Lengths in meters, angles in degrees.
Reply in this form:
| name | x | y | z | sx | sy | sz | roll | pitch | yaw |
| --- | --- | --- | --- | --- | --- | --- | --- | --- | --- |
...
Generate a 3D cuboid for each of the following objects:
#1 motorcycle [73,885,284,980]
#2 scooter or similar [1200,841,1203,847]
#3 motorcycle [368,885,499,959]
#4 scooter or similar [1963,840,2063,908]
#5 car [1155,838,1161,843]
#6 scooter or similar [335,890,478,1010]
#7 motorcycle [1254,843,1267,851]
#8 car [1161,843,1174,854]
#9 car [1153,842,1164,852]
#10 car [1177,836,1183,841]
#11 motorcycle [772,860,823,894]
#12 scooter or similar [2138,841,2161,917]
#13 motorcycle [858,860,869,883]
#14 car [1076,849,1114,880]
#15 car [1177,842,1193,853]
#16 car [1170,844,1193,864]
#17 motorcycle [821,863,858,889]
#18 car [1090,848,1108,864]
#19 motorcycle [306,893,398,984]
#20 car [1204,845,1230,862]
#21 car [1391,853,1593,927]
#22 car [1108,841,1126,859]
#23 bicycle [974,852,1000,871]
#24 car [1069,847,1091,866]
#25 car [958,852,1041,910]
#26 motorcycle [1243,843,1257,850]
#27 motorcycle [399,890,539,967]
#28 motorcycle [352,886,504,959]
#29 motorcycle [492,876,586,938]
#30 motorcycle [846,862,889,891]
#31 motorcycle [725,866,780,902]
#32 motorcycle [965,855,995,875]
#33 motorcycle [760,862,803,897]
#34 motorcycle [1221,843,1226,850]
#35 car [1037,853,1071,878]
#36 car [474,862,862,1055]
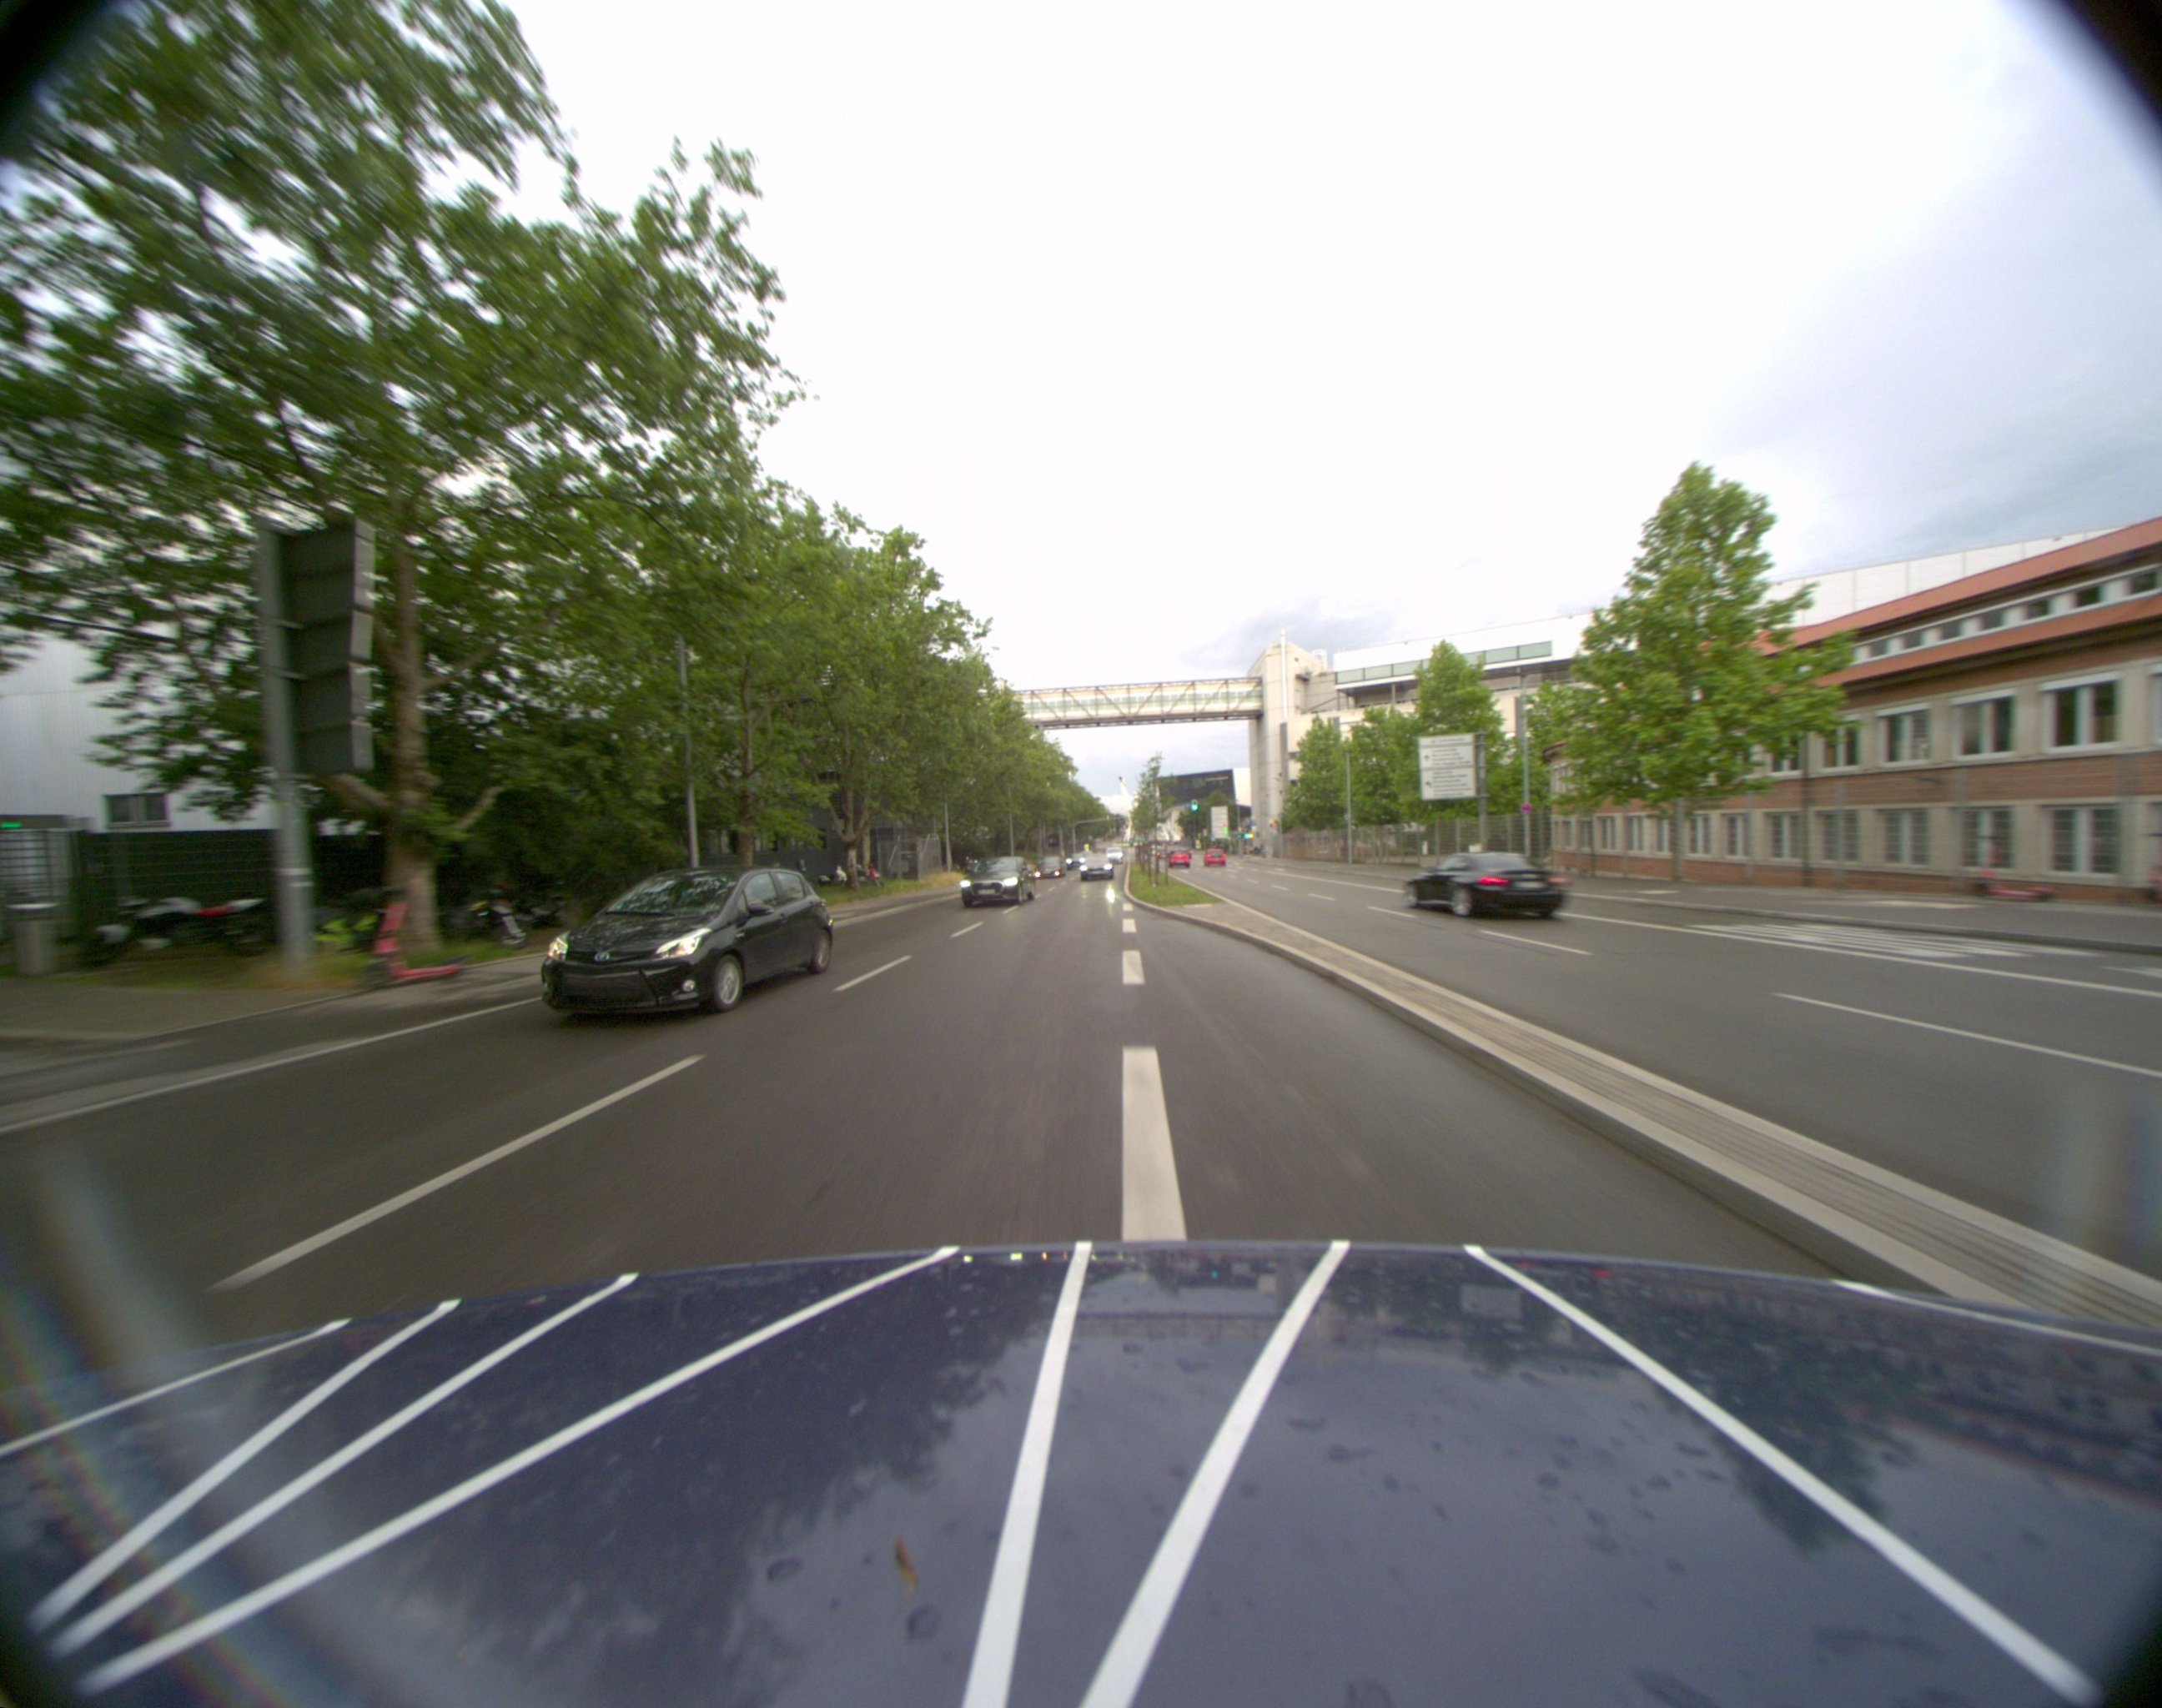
| name | x | y | z | sx | sy | sz | roll | pitch | yaw |
| --- | --- | --- | --- | --- | --- | --- | --- | --- | --- |
| motorcycle | -14.144 | 1.180 | 12.003 | 0.348 | 1.272 | 2.075 | -1 | 1 | 31 |
| scooter or similar | 25.035 | -2.109 | 158.077 | 0.394 | 1.123 | 1.569 | -1 | 1 | 4 |
| motorcycle | -12.776 | 1.311 | 15.055 | 0.520 | 1.272 | 1.858 | -1 | 1 | 34 |
| scooter or similar | 17.439 | 0.348 | 14.253 | 0.312 | 1.211 | 1.308 | -2 | 1 | 4 |
| car | 25.584 | -4.535 | 251.819 | 1.775 | 1.580 | 4.485 | -1 | 1 | 5 |
| scooter or similar | -8.284 | 1.136 | 9.395 | 0.312 | 1.291 | 1.309 | -2 | 1 | 15 |
| motorcycle | 25.971 | -1.013 | 109.957 | 0.627 | 1.021 | 2.166 | -2 | 2 | -23 |
| car | 11.401 | -0.783 | 100.444 | 1.581 | 1.396 | 4.112 | -1 | 1 | 4 |
| car | 12.870 | -1.230 | 126.766 | 1.775 | 1.580 | 4.485 | -1 | 1 | 5 |
| car | 34.084 | -5.458 | 260.809 | 1.775 | 1.580 | 4.485 | -1 | 1 | 5 |
| motorcycle | -12.532 | 1.021 | 33.637 | 1.933 | 1.357 | 0.506 | -4 | 2 | -1 |
| scooter or similar | 17.276 | 0.406 | 11.758 | 0.312 | 1.211 | 1.309 | -1 | 1 | 15 |
| motorcycle | -11.284 | 0.880 | 39.365 | 0.478 | 1.139 | 1.894 | -5 | 1 | -16 |
| car | 0.806 | 0.541 | 41.009 | 1.819 | 1.536 | 4.065 | -1 | 0 | 3 |
| car | 13.887 | -0.858 | 101.437 | 1.777 | 1.396 | 4.615 | -1 | 1 | 4 |
| car | 8.361 | 0.008 | 63.356 | 1.588 | 1.596 | 3.856 | 0 | 1 | 3 |
| motorcycle | -12.037 | 1.095 | 37.828 | 1.641 | 1.139 | 0.560 | -4 | 2 | 14 |
| car | 2.096 | 0.179 | 86.270 | 1.819 | 1.571 | 4.332 | -3 | 1 | 3 |
| motorcycle | -11.516 | 1.280 | 12.064 | 0.631 | 1.245 | 1.850 | -2 | 1 | -31 |
| car | 11.744 | -0.041 | 65.864 | 1.719 | 1.429 | 3.772 | 0 | 1 | 2 |
| car | 8.892 | 0.696 | 17.024 | 2.068 | 1.354 | 4.757 | -2 | 0 | 2 |
| car | 4.181 | -0.462 | 87.889 | 2.034 | 1.920 | 4.332 | -3 | 1 | 3 |
| bicycle | -6.882 | 0.572 | 55.835 | 1.864 | 1.340 | 0.447 | -2 | 1 | -9 |
| car | -0.088 | 0.209 | 73.579 | 1.825 | 1.581 | 4.332 | -3 | 1 | 3 |
| car | -2.598 | 0.804 | 25.640 | 1.819 | 1.536 | 5.608 | -3 | 1 | 3 |
| motorcycle | 24.893 | -1.069 | 111.955 | 0.628 | 1.021 | 2.165 | -2 | 2 | -31 |
| motorcycle | -11.024 | 1.319 | 13.746 | 1.855 | 1.245 | 0.629 | -2 | 1 | -12 |
| motorcycle | -13.560 | 1.383 | 15.871 | 0.520 | 1.272 | 2.285 | -1 | 1 | 34 |
| motorcycle | -12.795 | 1.215 | 18.021 | 0.647 | 1.272 | 1.991 | -2 | 1 | 3 |
| motorcycle | -9.136 | 0.957 | 32.537 | 1.656 | 1.144 | 0.493 | -4 | 2 | 12 |
| motorcycle | -12.872 | 1.171 | 29.786 | 1.918 | 1.250 | 0.491 | -4 | 2 | 9 |
| motorcycle | -6.930 | 0.751 | 52.056 | 2.011 | 1.266 | 0.442 | -1 | 1 | 16 |
| motorcycle | -12.510 | 1.055 | 31.758 | 1.502 | 1.357 | 0.506 | -4 | 2 | -1 |
| motorcycle | 23.064 | -1.270 | 123.134 | 0.568 | 1.156 | 2.038 | -1 | 1 | 2 |
| car | -1.746 | 0.720 | 50.587 | 1.749 | 1.422 | 4.517 | -3 | 1 | 3 |
| car | -4.313 | 0.957 | 9.001 | 1.749 | 1.461 | 4.640 | -3 | 1 | 3 |
